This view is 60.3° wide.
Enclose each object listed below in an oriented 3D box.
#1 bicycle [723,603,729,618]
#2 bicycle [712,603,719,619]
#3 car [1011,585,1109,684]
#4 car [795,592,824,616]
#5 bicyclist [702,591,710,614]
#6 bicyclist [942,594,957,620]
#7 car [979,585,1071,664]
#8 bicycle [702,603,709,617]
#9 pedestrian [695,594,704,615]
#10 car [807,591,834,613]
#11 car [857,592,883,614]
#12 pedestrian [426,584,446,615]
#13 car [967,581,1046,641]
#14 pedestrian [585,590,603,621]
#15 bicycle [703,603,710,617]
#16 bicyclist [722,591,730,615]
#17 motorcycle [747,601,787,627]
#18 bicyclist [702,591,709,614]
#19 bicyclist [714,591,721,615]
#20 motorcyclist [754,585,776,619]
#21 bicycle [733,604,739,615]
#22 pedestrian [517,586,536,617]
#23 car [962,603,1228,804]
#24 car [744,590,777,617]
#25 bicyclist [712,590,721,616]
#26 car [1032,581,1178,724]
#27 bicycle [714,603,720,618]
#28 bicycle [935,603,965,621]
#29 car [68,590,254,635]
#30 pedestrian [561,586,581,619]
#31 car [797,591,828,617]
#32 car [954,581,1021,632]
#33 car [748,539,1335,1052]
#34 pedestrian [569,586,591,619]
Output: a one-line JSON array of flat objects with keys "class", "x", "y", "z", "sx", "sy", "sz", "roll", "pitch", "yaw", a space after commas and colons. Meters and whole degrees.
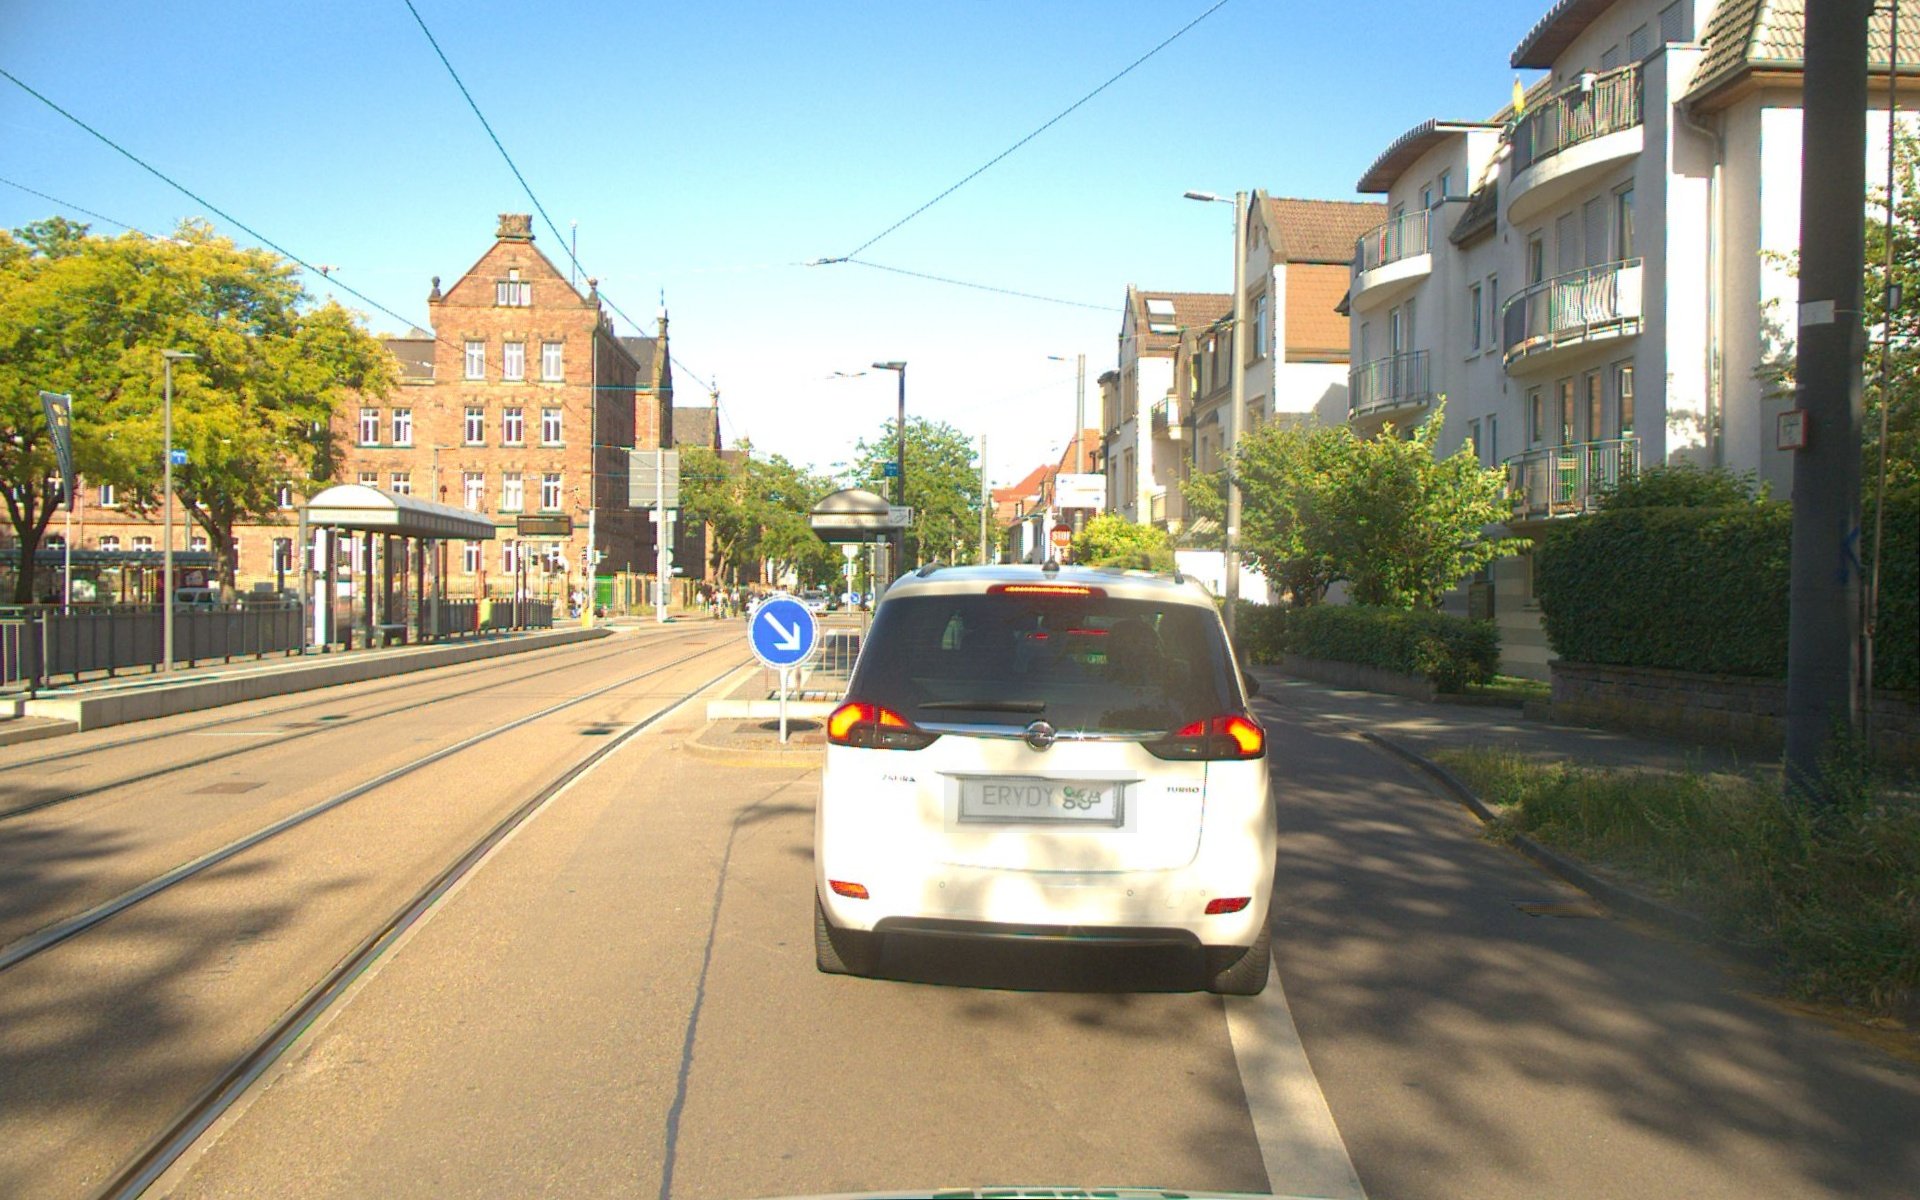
[{"class": "bicycle", "x": -15.406, "y": 0.687, "z": 108.900, "sx": 0.337, "sy": 0.966, "sz": 0.996, "roll": 1, "pitch": 0, "yaw": -4}, {"class": "bicycle", "x": -15.174, "y": 0.665, "z": 102.822, "sx": 0.337, "sy": 0.966, "sz": 1.159, "roll": 1, "pitch": 0, "yaw": -4}, {"class": "car", "x": 1.710, "y": 0.558, "z": 29.257, "sx": 1.603, "sy": 1.629, "sz": 3.855, "roll": 0, "pitch": 0, "yaw": 1}, {"class": "car", "x": -10.364, "y": 0.276, "z": 114.237, "sx": 1.955, "sy": 1.657, "sz": 3.996, "roll": 0, "pitch": 0, "yaw": -5}, {"class": "bicyclist", "x": -17.345, "y": 0.195, "z": 112.975, "sx": 0.435, "sy": 1.580, "sz": 0.495, "roll": 0, "pitch": 0, "yaw": -4}, {"class": "bicyclist", "x": -0.587, "y": 0.394, "z": 92.660, "sx": 0.742, "sy": 1.455, "sz": 0.516, "roll": 1, "pitch": -1, "yaw": 5}, {"class": "car", "x": 1.375, "y": 0.500, "z": 36.176, "sx": 1.793, "sy": 1.607, "sz": 4.009, "roll": 0, "pitch": 0, "yaw": -1}, {"class": "bicycle", "x": -17.668, "y": 0.673, "z": 114.841, "sx": 0.337, "sy": 0.966, "sz": 0.996, "roll": 1, "pitch": 0, "yaw": -4}, {"class": "pedestrian", "x": -21.287, "y": 0.361, "z": 135.205, "sx": 0.720, "sy": 1.744, "sz": 0.753, "roll": 1, "pitch": -1, "yaw": -6}, {"class": "car", "x": -10.956, "y": 0.158, "z": 130.466, "sx": 1.953, "sy": 1.657, "sz": 3.998, "roll": 0, "pitch": 0, "yaw": -3}, {"class": "car", "x": -7.023, "y": 0.250, "z": 128.419, "sx": 1.954, "sy": 1.657, "sz": 3.997, "roll": 0, "pitch": 0, "yaw": -4}, {"class": "pedestrian", "x": -28.025, "y": -0.009, "z": 88.465, "sx": 0.915, "sy": 1.616, "sz": 0.802, "roll": 1, "pitch": -1, "yaw": -11}, {"class": "car", "x": 1.195, "y": 0.267, "z": 44.297, "sx": 1.953, "sy": 1.529, "sz": 3.999, "roll": 0, "pitch": 0, "yaw": -1}, {"class": "pedestrian", "x": -21.079, "y": 0.333, "z": 95.181, "sx": 0.719, "sy": 1.744, "sz": 0.706, "roll": 1, "pitch": -1, "yaw": 22}, {"class": "bicycle", "x": -17.330, "y": 0.671, "z": 113.016, "sx": 0.337, "sy": 0.966, "sz": 0.996, "roll": 1, "pitch": 0, "yaw": -4}, {"class": "bicyclist", "x": -15.396, "y": 0.212, "z": 108.894, "sx": 0.435, "sy": 1.580, "sz": 0.495, "roll": 0, "pitch": 0, "yaw": -4}, {"class": "motorcycle", "x": -9.338, "y": 0.667, "z": 80.234, "sx": 0.602, "sy": 1.219, "sz": 2.063, "roll": 0, "pitch": 0, "yaw": 41}, {"class": "bicyclist", "x": -17.662, "y": 0.197, "z": 114.805, "sx": 0.435, "sy": 1.580, "sz": 0.495, "roll": 0, "pitch": 0, "yaw": -4}, {"class": "bicyclist", "x": -15.587, "y": 0.198, "z": 106.306, "sx": 0.435, "sy": 1.580, "sz": 0.495, "roll": 0, "pitch": 0, "yaw": -4}, {"class": "motorcyclist", "x": -9.445, "y": 0.111, "z": 80.104, "sx": 0.604, "sy": 1.650, "sz": 0.840, "roll": 0, "pitch": 0, "yaw": 41}, {"class": "bicycle", "x": -15.152, "y": 0.632, "z": 112.060, "sx": 0.337, "sy": 0.737, "sz": 0.996, "roll": 1, "pitch": 0, "yaw": -4}, {"class": "pedestrian", "x": -22.750, "y": 0.075, "z": 86.822, "sx": 0.786, "sy": 1.616, "sz": 0.934, "roll": 1, "pitch": 0, "yaw": -3}, {"class": "car", "x": 1.030, "y": 0.753, "z": 13.970, "sx": 1.912, "sy": 1.422, "sz": 4.001, "roll": 0, "pitch": 0, "yaw": 1}, {"class": "car", "x": -12.869, "y": 0.209, "z": 106.870, "sx": 1.955, "sy": 1.657, "sz": 3.996, "roll": 0, "pitch": 0, "yaw": -5}, {"class": "bicyclist", "x": -15.165, "y": 0.190, "z": 103.031, "sx": 0.435, "sy": 1.580, "sz": 0.742, "roll": 0, "pitch": 0, "yaw": -4}, {"class": "car", "x": 1.739, "y": 0.591, "z": 20.828, "sx": 1.603, "sy": 1.629, "sz": 3.855, "roll": 0, "pitch": 0, "yaw": 1}, {"class": "bicycle", "x": -15.624, "y": 0.672, "z": 106.348, "sx": 0.337, "sy": 0.966, "sz": 0.996, "roll": 1, "pitch": 0, "yaw": -4}, {"class": "bicycle", "x": -0.552, "y": 0.658, "z": 92.650, "sx": 1.635, "sy": 0.969, "sz": 0.529, "roll": 0, "pitch": 0, "yaw": 5}, {"class": "car", "x": -35.734, "y": 0.536, "z": 74.171, "sx": 6.810, "sy": 1.954, "sz": 2.991, "roll": 0, "pitch": 0, "yaw": -2}, {"class": "pedestrian", "x": -20.681, "y": 0.145, "z": 87.939, "sx": 0.825, "sy": 1.721, "sz": 1.029, "roll": 1, "pitch": 0, "yaw": -1}, {"class": "car", "x": -9.559, "y": 0.260, "z": 107.143, "sx": 1.955, "sy": 1.657, "sz": 3.996, "roll": 0, "pitch": 0, "yaw": -5}, {"class": "car", "x": 0.823, "y": 0.201, "z": 51.753, "sx": 1.953, "sy": 1.529, "sz": 3.999, "roll": 0, "pitch": 0, "yaw": -1}, {"class": "car", "x": 0.456, "y": 0.653, "z": 7.582, "sx": 1.951, "sy": 1.673, "sz": 3.996, "roll": 1, "pitch": 0, "yaw": 6}, {"class": "pedestrian", "x": -19.780, "y": 0.146, "z": 86.126, "sx": 0.877, "sy": 1.713, "sz": 1.029, "roll": 1, "pitch": 0, "yaw": -1}]
